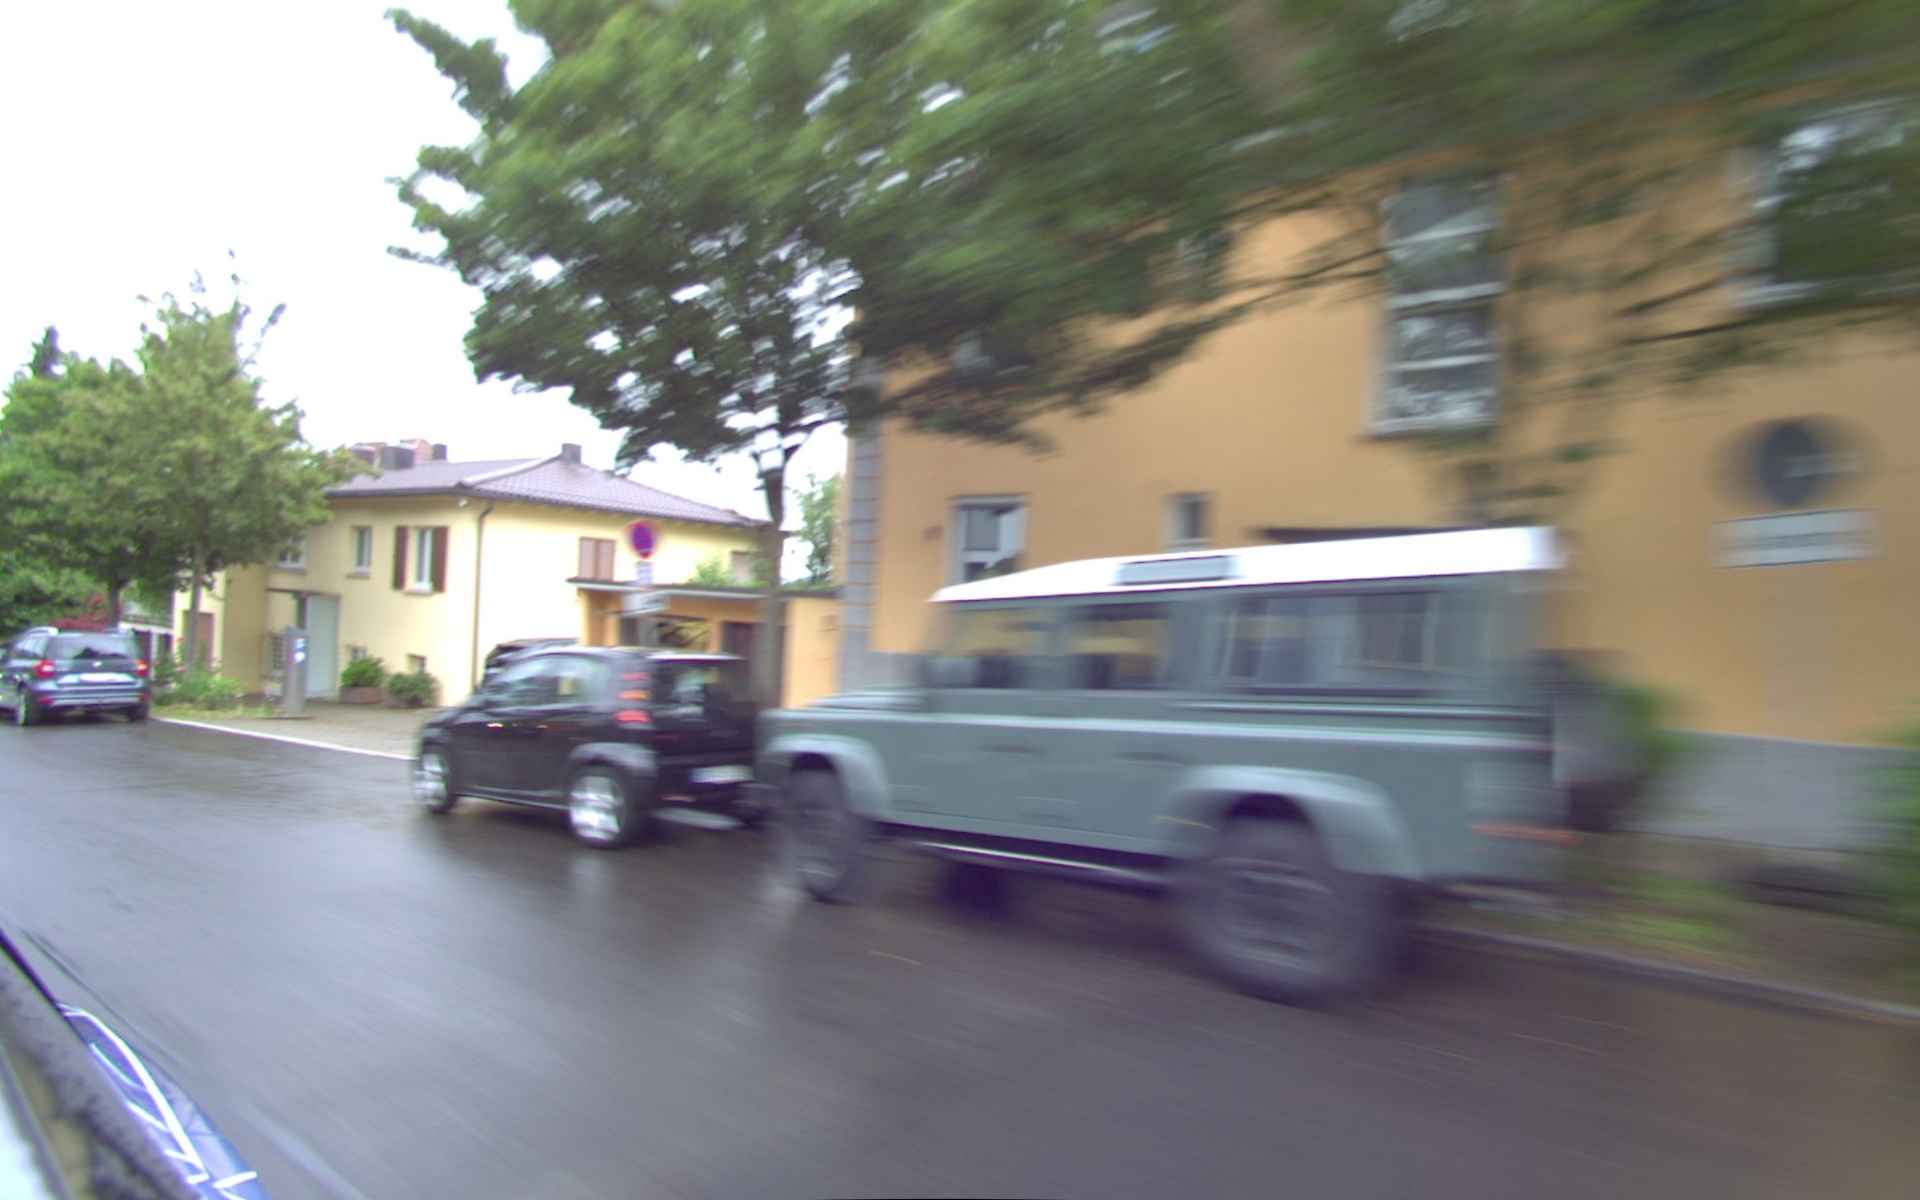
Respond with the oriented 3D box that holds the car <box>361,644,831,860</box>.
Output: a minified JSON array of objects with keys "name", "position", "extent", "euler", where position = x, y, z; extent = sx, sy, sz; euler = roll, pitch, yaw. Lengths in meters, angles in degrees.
[{"name":"car","position":[-3.325,1.125,8.898],"extent":[4.339,1.447,1.752],"euler":[-2,-4,36]}]

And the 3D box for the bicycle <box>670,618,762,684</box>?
[{"name":"bicycle","position":[-5.074,1.087,21.181],"extent":[0.625,0.944,1.744],"euler":[-2,-18,37]}]

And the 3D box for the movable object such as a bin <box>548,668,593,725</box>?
[{"name":"movable object such as a bin","position":[-7.529,1.858,19.567],"extent":[0.584,1.031,0.582],"euler":[-2,-1,33]}]

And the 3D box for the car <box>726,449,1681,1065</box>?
[{"name":"car","position":[0.988,0.659,5.589],"extent":[4.774,2.065,1.774],"euler":[-3,-6,37]}]

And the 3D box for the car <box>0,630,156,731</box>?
[{"name":"car","position":[-16.570,1.453,18.574],"extent":[4.102,1.647,1.752],"euler":[-2,-6,37]}]

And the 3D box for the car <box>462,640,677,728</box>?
[{"name":"car","position":[-8.402,1.729,22.061],"extent":[1.860,1.658,4.017],"euler":[-1,-2,36]}]

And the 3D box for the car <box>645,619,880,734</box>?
[{"name":"car","position":[-3.792,1.441,20.090],"extent":[1.846,1.904,4.338],"euler":[4,0,38]}]

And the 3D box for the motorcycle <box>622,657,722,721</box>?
[{"name":"motorcycle","position":[-5.678,1.743,20.047],"extent":[0.577,1.176,1.882],"euler":[2,-1,38]}]

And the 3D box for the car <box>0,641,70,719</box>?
[{"name":"car","position":[-20.884,1.657,21.528],"extent":[4.592,1.547,1.753],"euler":[-2,-4,34]}]
